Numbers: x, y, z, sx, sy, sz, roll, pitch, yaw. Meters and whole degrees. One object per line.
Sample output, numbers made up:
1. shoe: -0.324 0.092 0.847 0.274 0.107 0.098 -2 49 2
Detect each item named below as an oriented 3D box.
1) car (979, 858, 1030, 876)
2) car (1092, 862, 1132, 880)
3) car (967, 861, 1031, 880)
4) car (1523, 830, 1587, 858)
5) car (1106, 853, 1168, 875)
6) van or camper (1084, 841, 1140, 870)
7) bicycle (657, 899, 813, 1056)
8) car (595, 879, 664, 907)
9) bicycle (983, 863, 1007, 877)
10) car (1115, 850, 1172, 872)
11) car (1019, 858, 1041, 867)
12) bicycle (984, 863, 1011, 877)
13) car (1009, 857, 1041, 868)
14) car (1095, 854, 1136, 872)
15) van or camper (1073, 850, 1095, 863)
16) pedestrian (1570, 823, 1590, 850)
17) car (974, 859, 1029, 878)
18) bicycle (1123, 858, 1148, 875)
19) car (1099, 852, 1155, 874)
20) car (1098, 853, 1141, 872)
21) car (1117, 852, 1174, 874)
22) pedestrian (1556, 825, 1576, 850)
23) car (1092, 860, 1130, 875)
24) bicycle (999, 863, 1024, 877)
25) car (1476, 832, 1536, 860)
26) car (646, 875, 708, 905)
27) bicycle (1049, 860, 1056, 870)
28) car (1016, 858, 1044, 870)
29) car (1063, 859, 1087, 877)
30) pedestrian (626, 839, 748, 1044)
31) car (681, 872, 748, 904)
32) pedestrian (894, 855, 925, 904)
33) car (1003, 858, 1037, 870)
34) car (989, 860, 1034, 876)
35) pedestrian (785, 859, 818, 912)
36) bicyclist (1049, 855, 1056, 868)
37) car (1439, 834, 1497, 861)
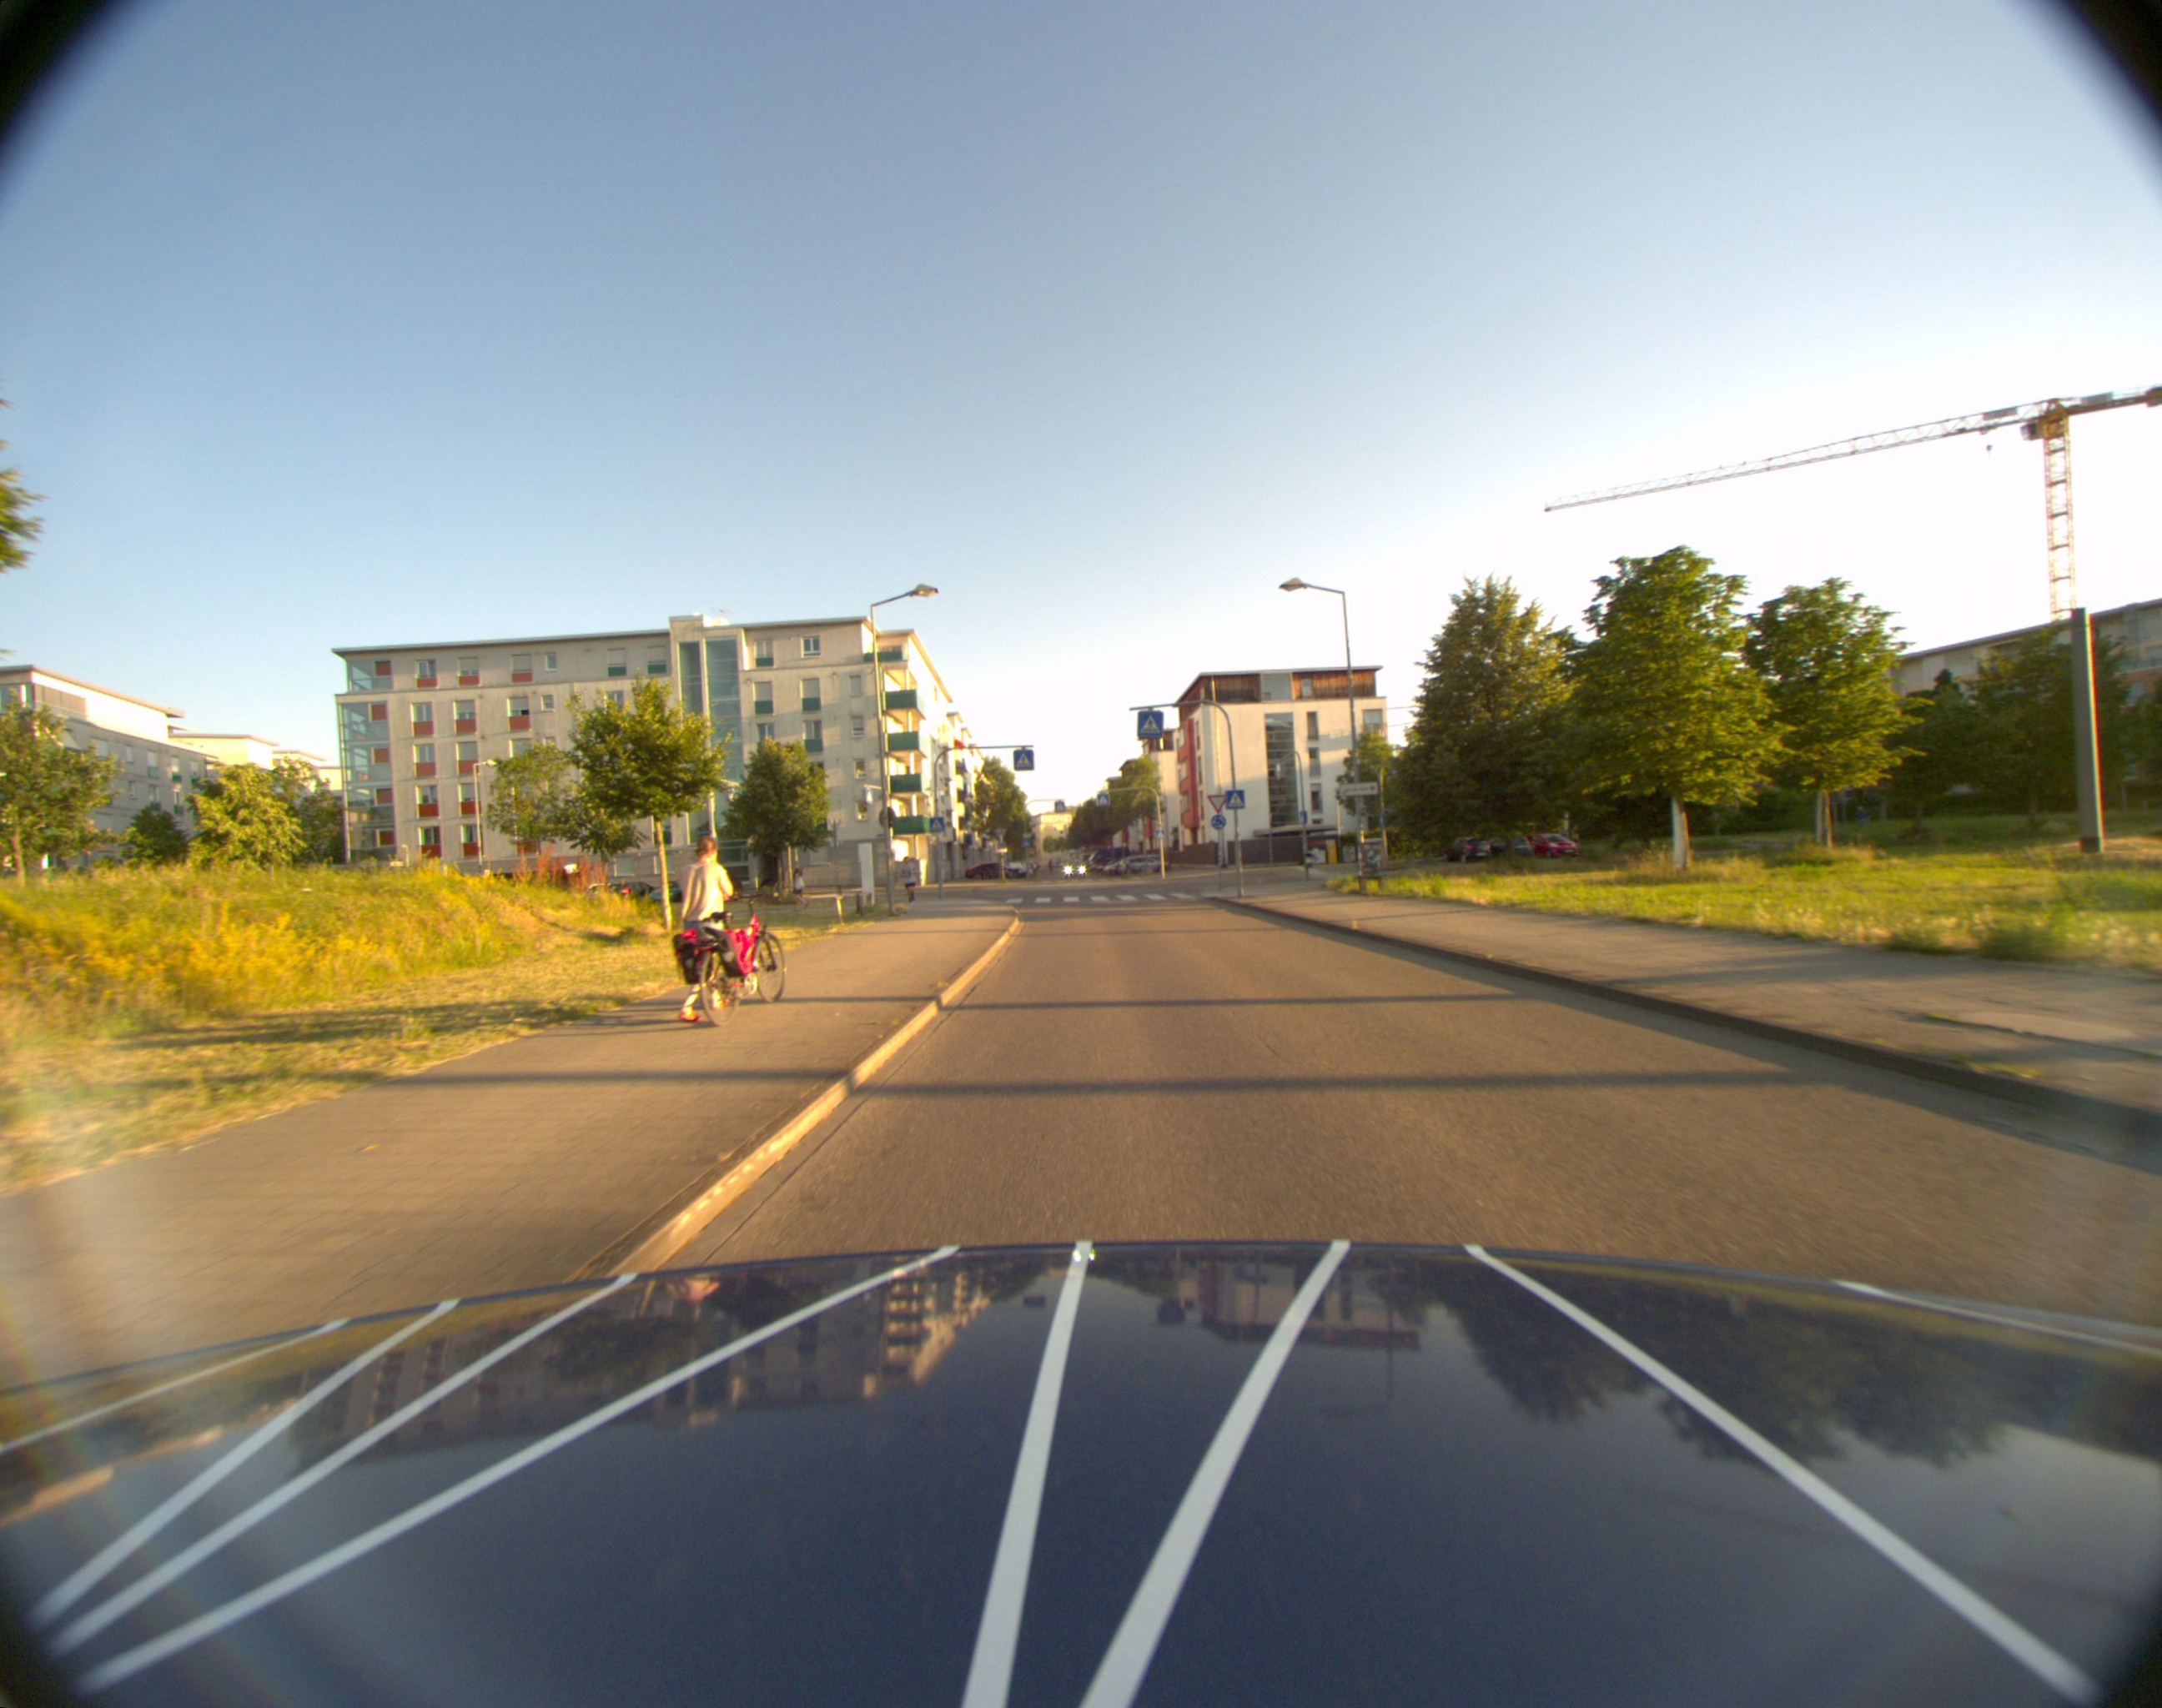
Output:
1. car: -6.640 1.149 66.176 4.295 1.485 1.742 -1 0 -3
2. car: 3.355 1.819 82.929 4.103 1.616 1.723 -4 0 -7
3. car: -6.517 1.309 60.656 4.887 1.449 1.938 -1 0 -1
4. car: 28.354 -0.601 45.574 1.593 1.492 3.410 -3 1 -1
5. car: 4.665 0.839 64.040 4.916 1.469 1.710 -5 0 -5
6. van or camper: 3.704 0.160 91.970 6.316 3.069 2.441 -4 0 -7
7. bicycle: -3.162 1.065 7.157 0.451 1.162 1.941 -3 -1 2
8. car: -27.174 2.324 45.904 1.700 1.471 4.056 -3 -1 -1
9. bicycle: -6.529 1.233 57.578 1.793 1.035 0.567 -1 -1 -7
10. car: 5.471 0.612 66.680 4.785 1.546 1.711 -5 0 1
11. car: -10.216 1.709 151.664 4.252 1.629 1.692 -1 0 -2
12. bicycle: -6.454 1.235 58.646 2.035 1.040 0.473 -1 -1 -7
13. car: -7.718 1.188 104.222 4.252 1.527 1.692 -1 0 -2
14. car: 3.518 0.941 78.826 3.920 1.506 1.723 -4 0 -7
15. van or camper: 0.549 0.461 143.940 4.252 2.520 1.760 -1 0 -2
16. pedestrian: 31.912 -1.088 48.564 0.743 1.658 0.624 -5 1 -4
17. car: -6.593 1.177 63.331 4.412 1.499 1.743 -1 0 1
18. bicycle: 4.201 0.969 58.652 1.822 1.060 0.567 -6 0 -5
19. car: 4.185 0.798 69.365 4.761 1.575 1.758 -5 0 -7
20. car: 3.864 0.857 76.618 3.920 1.700 1.723 -4 0 -7
21. car: 5.180 0.730 61.360 4.292 1.449 1.680 -4 0 -5
22. pedestrian: 31.454 -1.070 49.269 0.713 1.590 0.656 -5 1 -11
23. car: 3.411 1.571 86.699 4.104 1.616 1.723 -1 0 -7
24. bicycle: -5.337 1.234 58.289 1.840 1.065 0.473 -1 -1 -7
25. car: 25.597 -0.473 45.848 1.593 1.492 3.410 -3 1 -1
26. car: -24.548 2.161 46.308 1.558 1.366 4.004 -3 2 -1
27. bicycle: -3.671 1.454 98.115 0.772 1.259 1.781 -3 -1 -4
28. car: -7.830 1.521 117.039 4.252 1.768 1.692 -1 0 -2
29. car: -0.544 1.195 65.109 1.778 1.454 4.177 -1 -1 -5
30. pedestrian: -3.680 0.782 7.162 0.596 1.791 0.818 -3 0 3
31. car: -21.912 2.017 45.688 1.832 1.479 4.479 -3 2 -1
32. pedestrian: -6.332 0.925 28.053 0.801 1.719 0.768 -3 0 5
33. car: -7.859 1.295 98.145 4.252 1.527 1.692 -1 0 -2
34. car: -6.735 1.347 73.396 4.295 1.499 1.685 -1 0 -6
35. pedestrian: -9.711 1.092 26.415 0.734 1.774 0.802 -3 0 -2
36. bicyclist: -3.703 0.977 97.995 0.767 1.618 0.663 -3 0 -4
37. car: 23.482 -0.391 46.214 1.690 1.513 3.410 -3 1 -1
